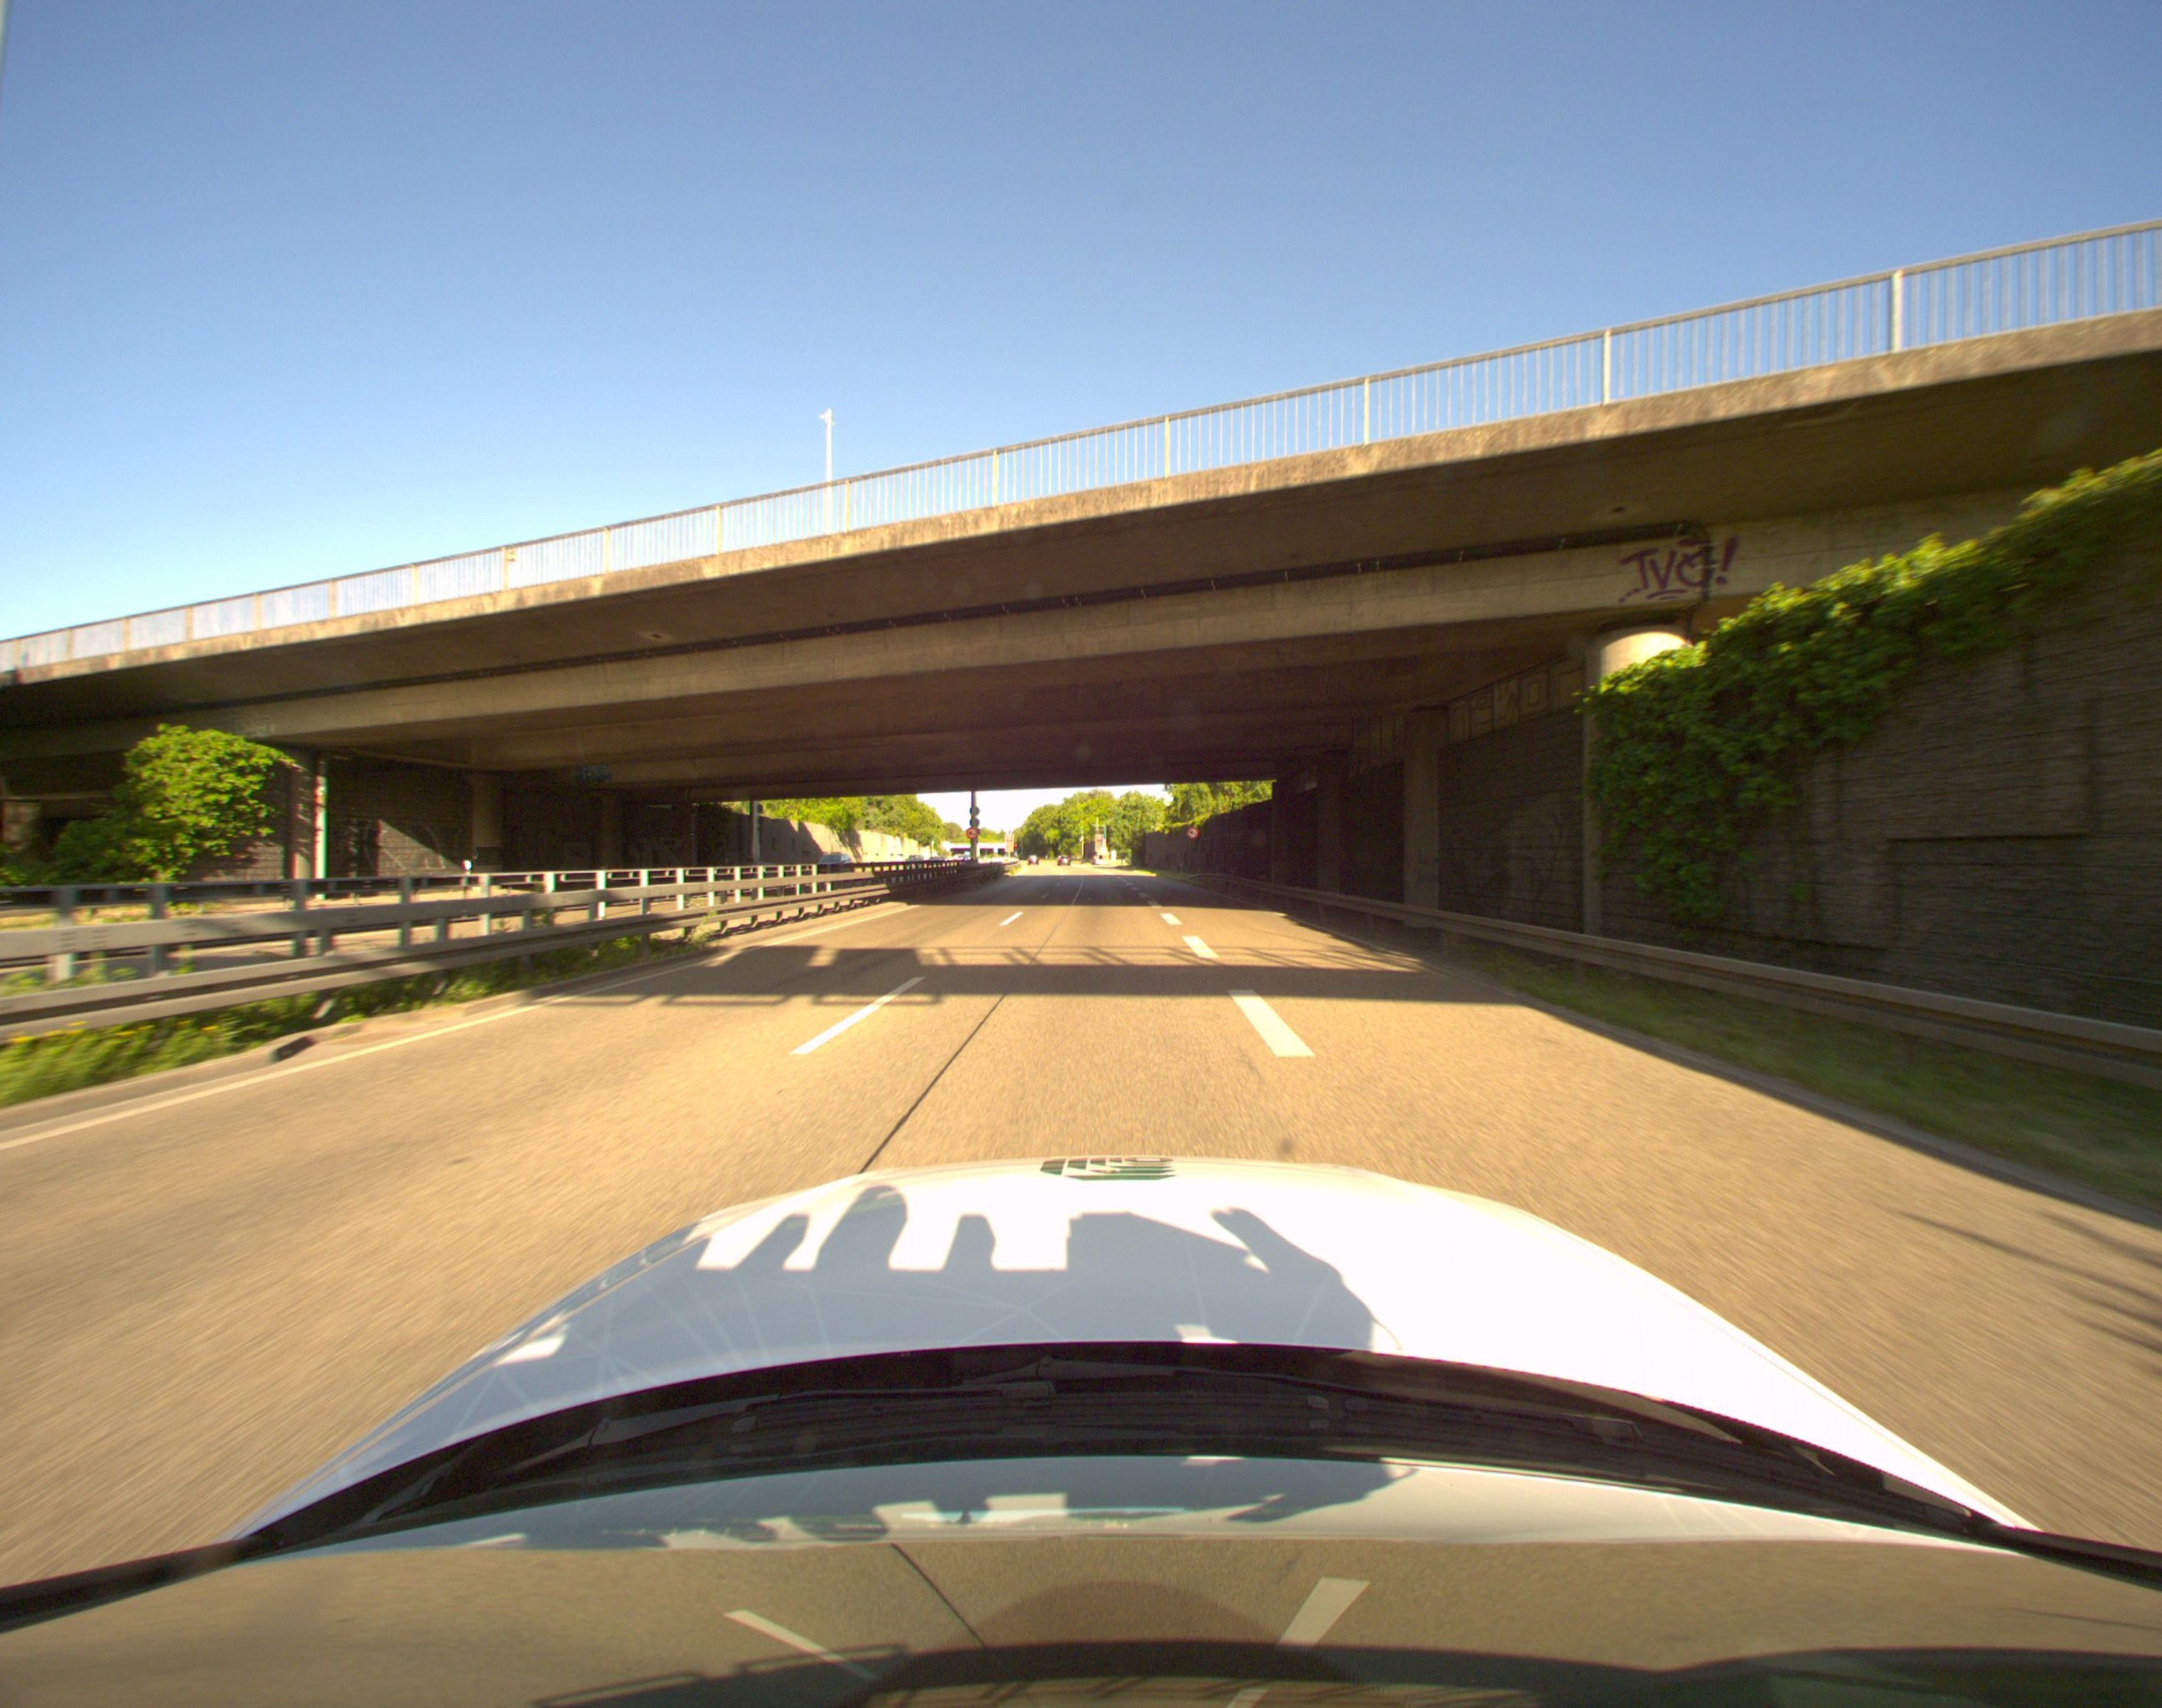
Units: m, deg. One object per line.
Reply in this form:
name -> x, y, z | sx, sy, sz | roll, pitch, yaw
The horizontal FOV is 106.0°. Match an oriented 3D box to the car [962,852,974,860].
car -> -23.552, 0.421, 169.713 | 1.893, 1.574, 4.802 | 2, 0, -3

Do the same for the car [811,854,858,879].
car -> -18.049, 0.890, 59.865 | 1.987, 1.706, 4.561 | -1, 0, 1

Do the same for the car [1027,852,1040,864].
car -> -7.846, 0.716, 134.516 | 1.988, 1.925, 3.998 | 1, 0, -1

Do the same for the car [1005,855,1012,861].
car -> -23.024, 1.254, 258.160 | 1.994, 1.925, 3.985 | 1, 0, -11

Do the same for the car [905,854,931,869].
car -> -18.160, 0.786, 90.926 | 1.987, 1.596, 4.427 | 0, 0, 1

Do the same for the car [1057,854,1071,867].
car -> -2.544, 0.919, 120.527 | 1.988, 1.925, 3.998 | 1, 0, -1

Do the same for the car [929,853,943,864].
car -> -21.484, 0.640, 120.897 | 1.542, 1.574, 4.391 | 2, 0, -3

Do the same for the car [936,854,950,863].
car -> -25.222, 0.791, 148.865 | 1.893, 1.421, 4.130 | -1, 0, -3
